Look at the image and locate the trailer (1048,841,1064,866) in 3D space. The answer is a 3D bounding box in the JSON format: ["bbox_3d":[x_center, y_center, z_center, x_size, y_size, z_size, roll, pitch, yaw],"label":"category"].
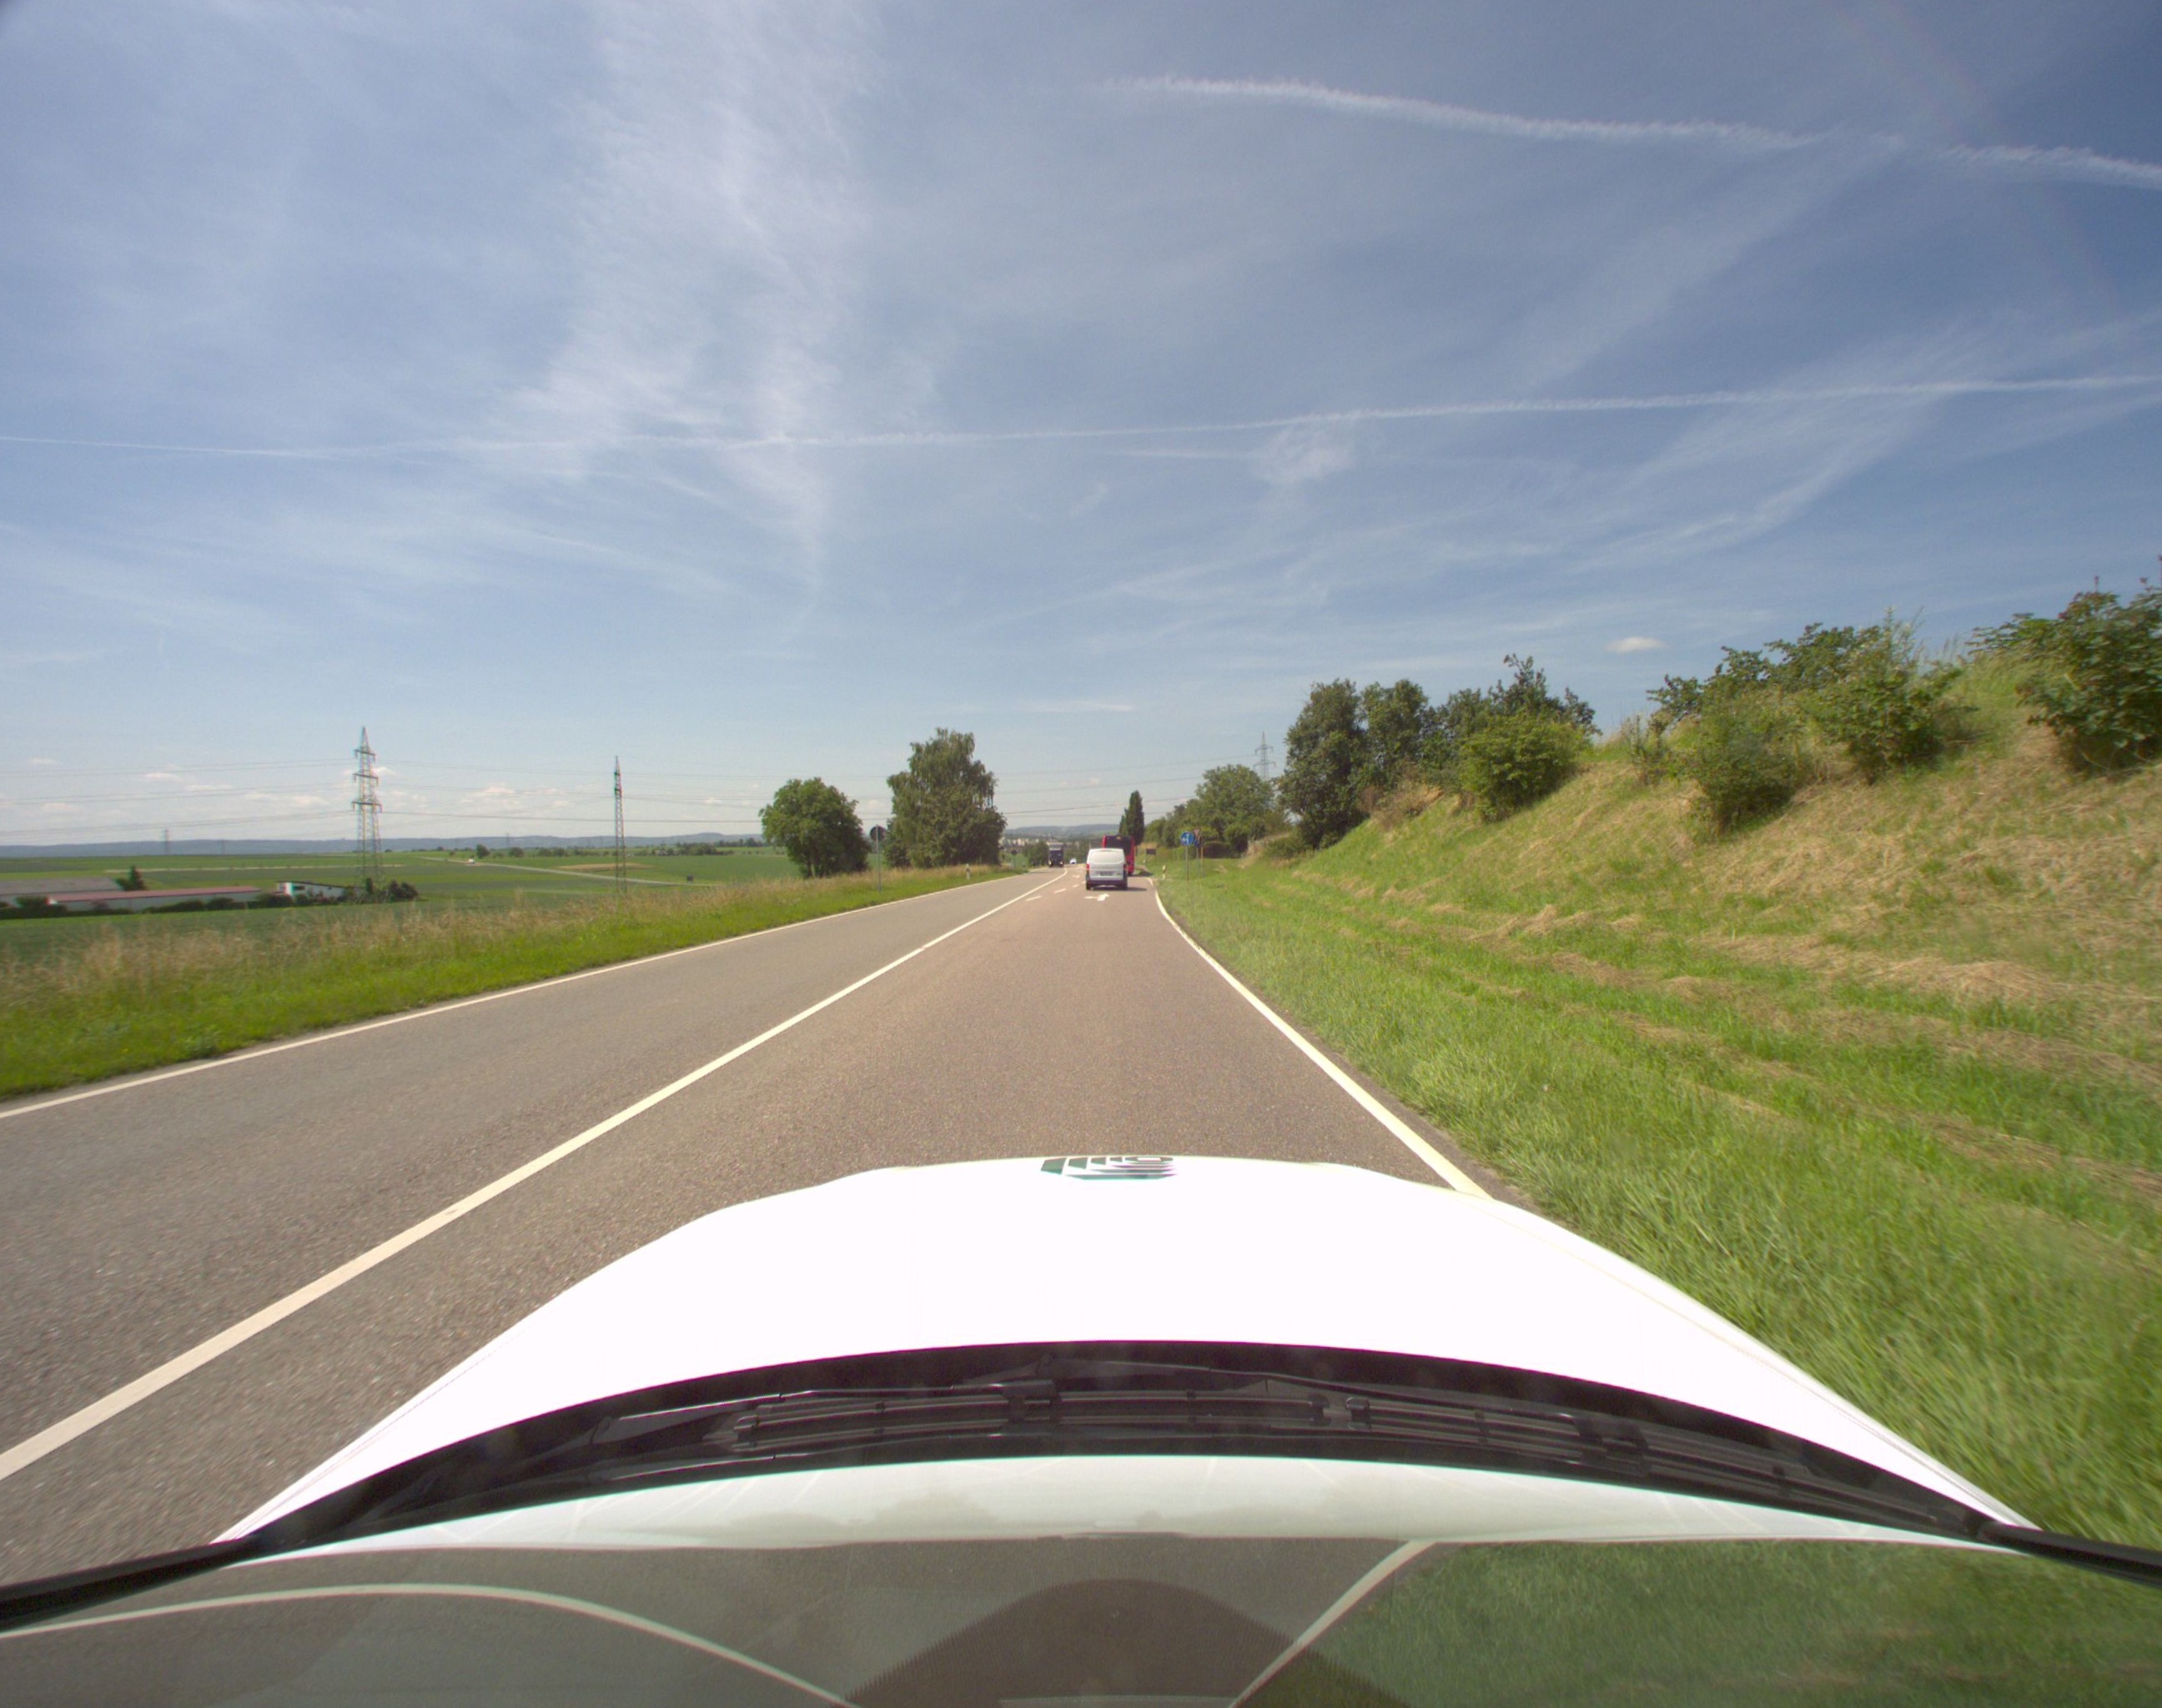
[{"bbox_3d":[-4.340,-0.053,143.467,2.585,4.143,13.736,-1,0,0],"label":"trailer"}]

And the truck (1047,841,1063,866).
[{"bbox_3d":[-4.310,-0.110,136.499,2.577,4.104,5.440,-1,0,0],"label":"truck"}]

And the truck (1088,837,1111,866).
[{"bbox_3d":[3.080,-0.354,136.987,3.476,4.423,14.904,-2,0,1],"label":"truck"}]

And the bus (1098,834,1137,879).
[{"bbox_3d":[2.960,0.011,69.755,2.738,3.353,13.223,-3,1,1],"label":"bus"}]

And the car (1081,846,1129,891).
[{"bbox_3d":[1.172,0.636,37.927,1.914,1.889,4.006,-2,0,5],"label":"car"}]

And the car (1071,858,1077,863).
[{"bbox_3d":[-2.097,1.989,245.158,1.847,1.565,4.074,-2,0,1],"label":"car"}]
